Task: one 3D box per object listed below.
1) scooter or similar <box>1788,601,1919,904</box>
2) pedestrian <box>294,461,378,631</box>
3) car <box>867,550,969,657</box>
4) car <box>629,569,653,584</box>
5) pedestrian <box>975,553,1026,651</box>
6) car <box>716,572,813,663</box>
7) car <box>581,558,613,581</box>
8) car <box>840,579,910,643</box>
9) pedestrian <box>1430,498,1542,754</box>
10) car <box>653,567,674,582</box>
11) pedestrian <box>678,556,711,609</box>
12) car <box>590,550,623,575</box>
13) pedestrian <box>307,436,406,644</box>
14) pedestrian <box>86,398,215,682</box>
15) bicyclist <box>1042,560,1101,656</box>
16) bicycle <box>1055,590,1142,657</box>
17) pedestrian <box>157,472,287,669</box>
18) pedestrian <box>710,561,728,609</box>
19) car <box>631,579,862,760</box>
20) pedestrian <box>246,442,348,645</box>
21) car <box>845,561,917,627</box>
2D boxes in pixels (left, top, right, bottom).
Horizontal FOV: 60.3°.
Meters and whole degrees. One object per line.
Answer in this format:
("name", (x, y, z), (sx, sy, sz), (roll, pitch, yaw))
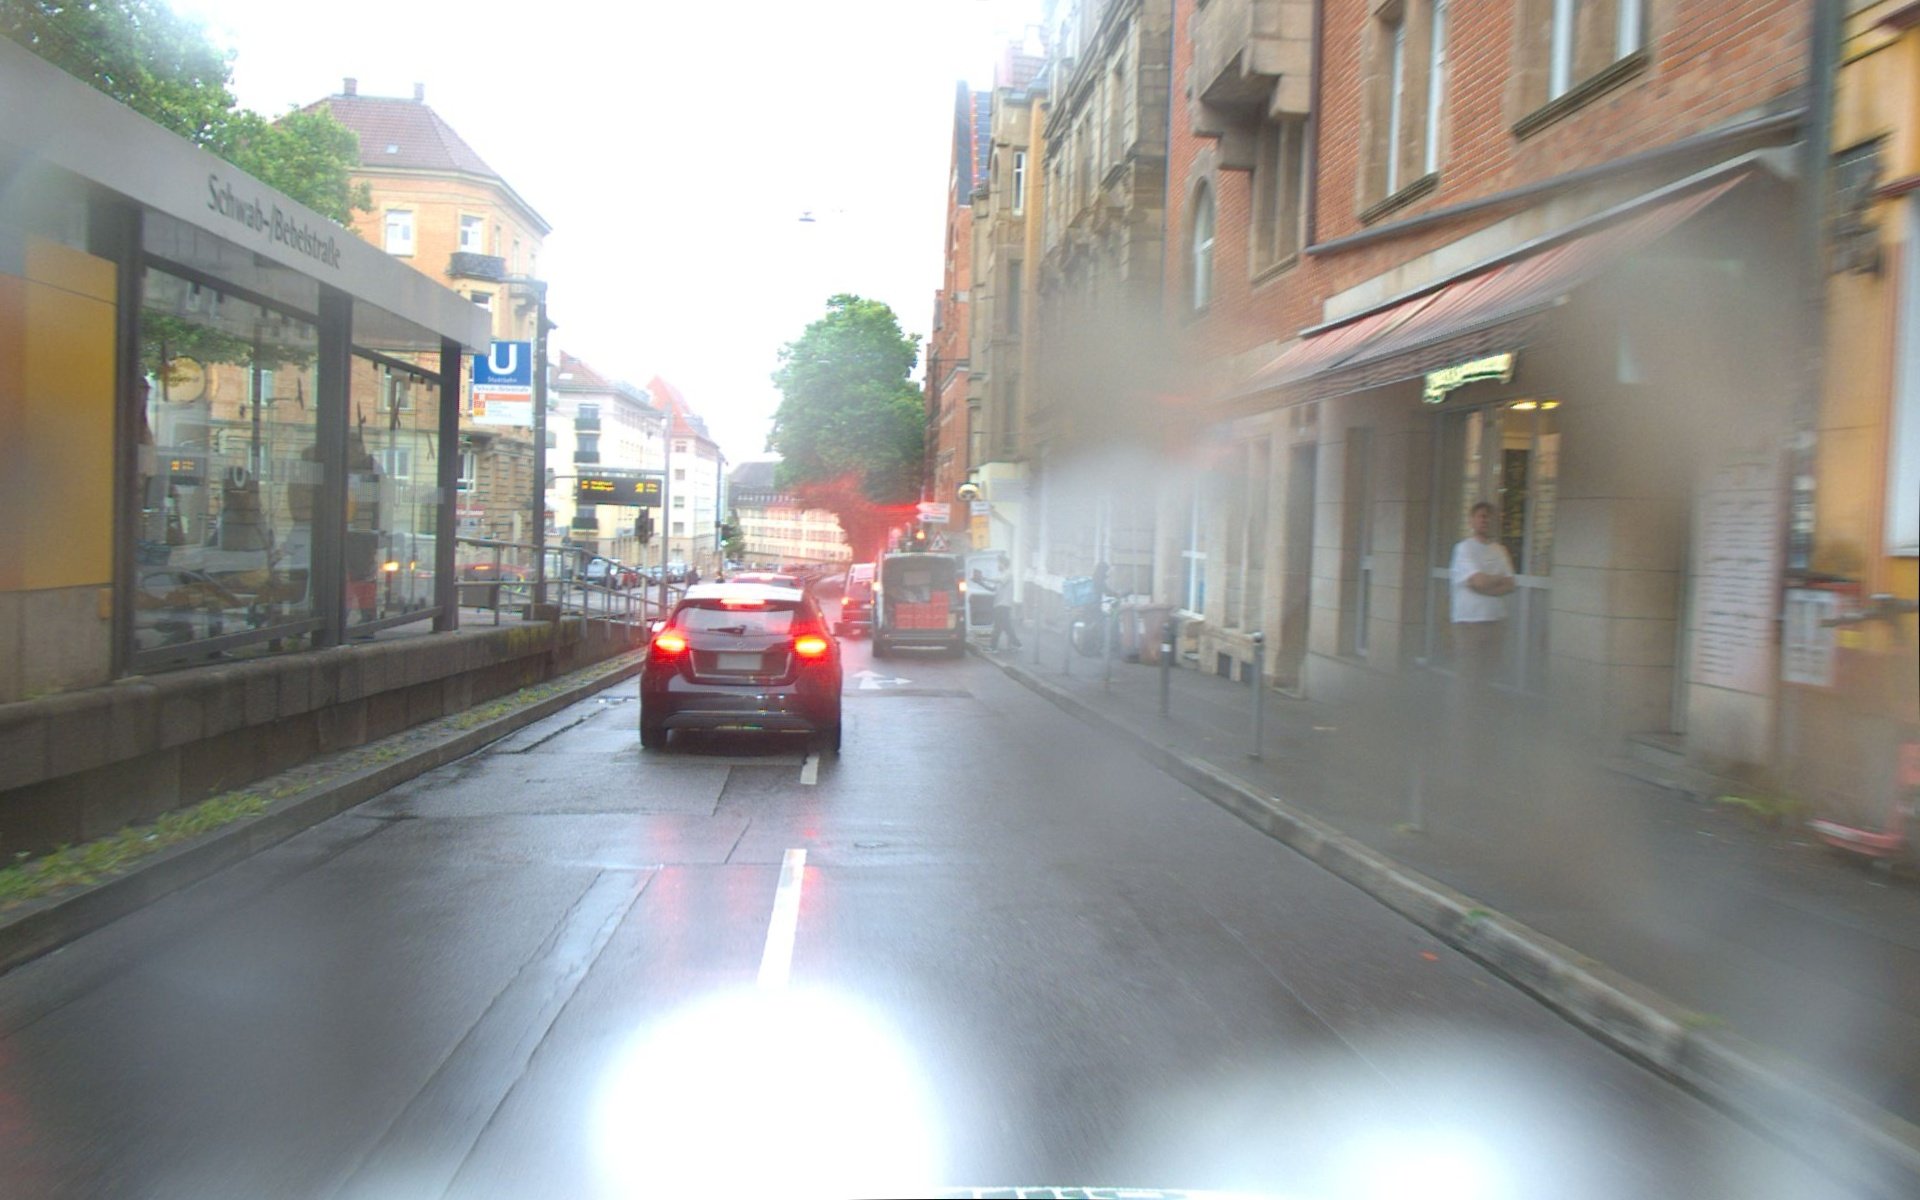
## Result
("scooter or similar", (4.179, 0.646, 7.549), (0.252, 1.243, 1.195), (2, 1, 5))
("pedestrian", (-6.034, -0.520, 16.010), (0.601, 1.608, 0.507), (1, 1, -1))
("car", (-0.906, 0.017, 33.542), (1.882, 1.969, 4.683), (1, 1, -3))
("car", (-24.688, -1.808, 127.997), (1.408, 1.125, 3.160), (1, 1, -4))
("pedestrian", (0.743, 0.032, 30.545), (0.818, 1.784, 0.685), (0, 1, -10))
("car", (-3.540, 0.273, 30.201), (1.647, 1.515, 3.609), (1, 2, -6))
("car", (-22.499, -1.907, 102.583), (1.424, 1.341, 3.292), (2, 2, -5))
("car", (-2.191, 0.242, 43.517), (1.678, 1.494, 4.280), (1, 1, -1))
("pedestrian", (3.958, 0.189, 12.463), (0.566, 1.862, 0.563), (-2, 1, -7))
("car", (-25.410, -2.187, 141.670), (1.367, 1.191, 3.160), (1, 1, -4))
("pedestrian", (-8.800, -0.580, 54.807), (0.728, 1.754, 0.736), (2, 1, 42))
("car", (-23.278, -2.456, 109.012), (1.752, 1.556, 4.456), (1, 1, -7))
("pedestrian", (-5.130, -0.511, 14.084), (0.601, 1.717, 0.587), (1, 1, -1))
("pedestrian", (-4.762, -0.348, 9.752), (0.495, 1.617, 0.527), (1, 1, -5))
("bicyclist", (1.992, 0.134, 29.566), (0.839, 1.686, 0.624), (-1, 1, -33))
("bicycle", (2.461, 0.405, 29.322), (1.670, 1.135, 0.459), (-1, 1, -37))
("pedestrian", (-4.832, -0.194, 10.850), (0.601, 1.248, 0.507), (1, 1, -1))
("pedestrian", (-7.958, -0.497, 54.667), (0.522, 1.557, 0.435), (1, 1, -12))
("car", (-1.885, 0.550, 15.686), (1.857, 1.414, 3.998), (1, 1, -3))
("pedestrian", (-5.414, -0.457, 13.521), (0.601, 1.608, 0.507), (1, 1, -1))
("car", (-2.474, -0.231, 50.840), (1.896, 1.863, 4.275), (1, 2, -7))
